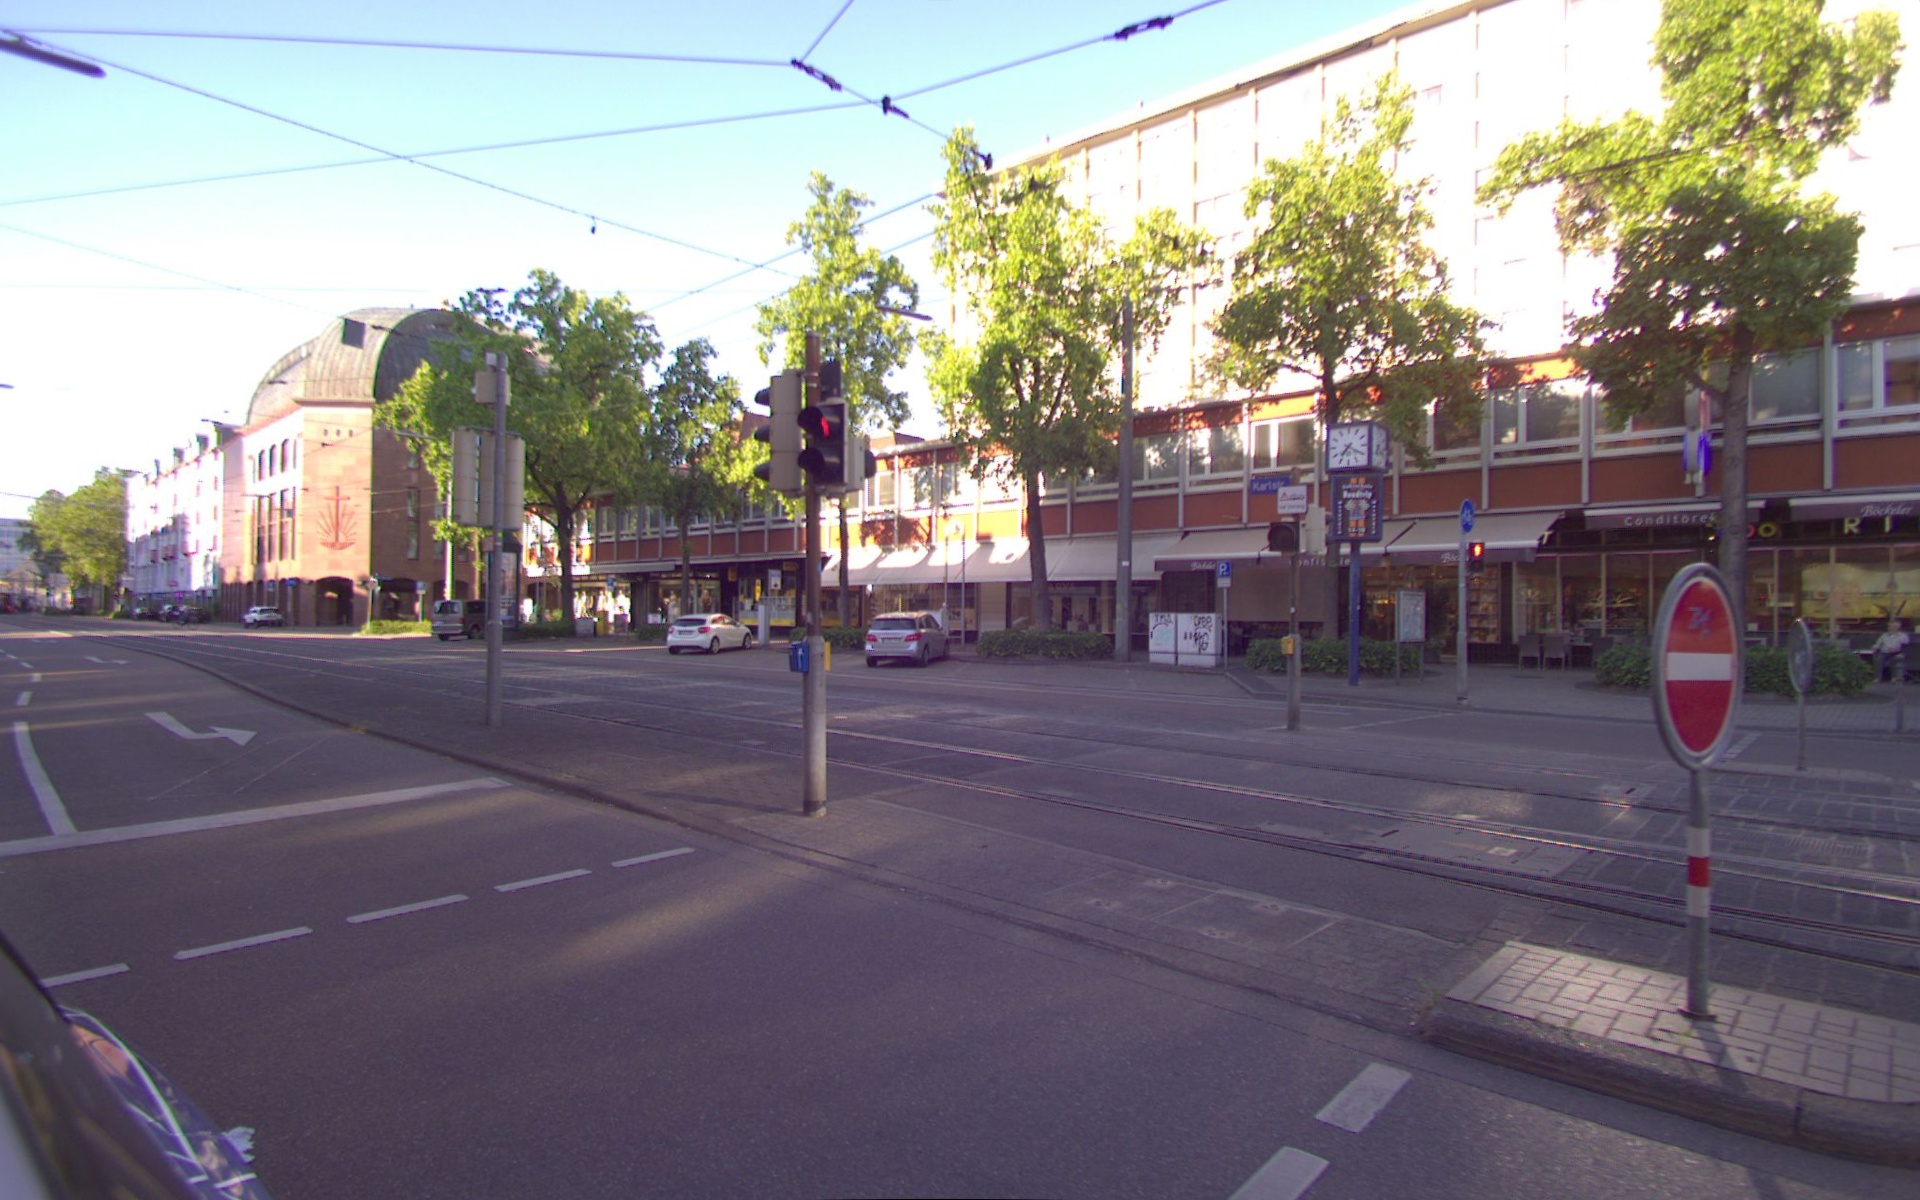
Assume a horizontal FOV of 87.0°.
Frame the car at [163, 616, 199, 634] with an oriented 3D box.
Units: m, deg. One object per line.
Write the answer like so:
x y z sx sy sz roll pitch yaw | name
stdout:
-71.959 2.301 93.451 3.999 1.615 1.939 0 0 42 | car

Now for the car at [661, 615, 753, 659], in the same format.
-9.334 1.342 37.632 1.779 1.486 3.984 0 0 12 | car

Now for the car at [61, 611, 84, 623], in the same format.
-124.604 2.363 142.117 3.999 1.615 1.939 0 0 42 | car

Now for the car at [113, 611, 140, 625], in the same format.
-101.349 2.191 123.010 3.999 1.615 1.939 0 0 42 | car

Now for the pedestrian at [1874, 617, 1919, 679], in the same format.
19.855 0.993 21.150 0.826 1.272 0.910 1 -1 -31 | pedestrian

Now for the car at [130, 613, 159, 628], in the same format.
-90.009 2.235 111.663 3.999 1.615 1.939 0 0 42 | car

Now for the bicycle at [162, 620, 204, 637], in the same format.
-48.652 1.783 63.379 2.008 1.100 0.674 1 -1 -3 | bicycle

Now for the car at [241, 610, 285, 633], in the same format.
-51.882 1.587 75.299 3.999 1.615 1.885 0 0 42 | car

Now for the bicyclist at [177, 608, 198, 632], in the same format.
-48.397 1.251 63.407 0.752 1.433 0.674 0 -1 -4 | bicyclist

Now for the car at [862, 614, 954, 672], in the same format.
-1.484 1.226 30.274 1.779 1.566 3.984 0 0 12 | car

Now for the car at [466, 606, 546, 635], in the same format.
-32.921 1.515 73.497 1.999 2.029 4.917 -1 -2 42 | car

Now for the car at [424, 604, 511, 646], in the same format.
-23.983 1.178 49.453 1.890 1.979 3.989 0 0 9 | car

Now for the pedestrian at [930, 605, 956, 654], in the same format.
-0.612 1.076 37.084 0.626 1.782 0.771 1 0 -30 | pedestrian

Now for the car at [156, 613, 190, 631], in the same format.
-76.206 2.084 97.980 3.999 1.615 1.939 0 0 42 | car
